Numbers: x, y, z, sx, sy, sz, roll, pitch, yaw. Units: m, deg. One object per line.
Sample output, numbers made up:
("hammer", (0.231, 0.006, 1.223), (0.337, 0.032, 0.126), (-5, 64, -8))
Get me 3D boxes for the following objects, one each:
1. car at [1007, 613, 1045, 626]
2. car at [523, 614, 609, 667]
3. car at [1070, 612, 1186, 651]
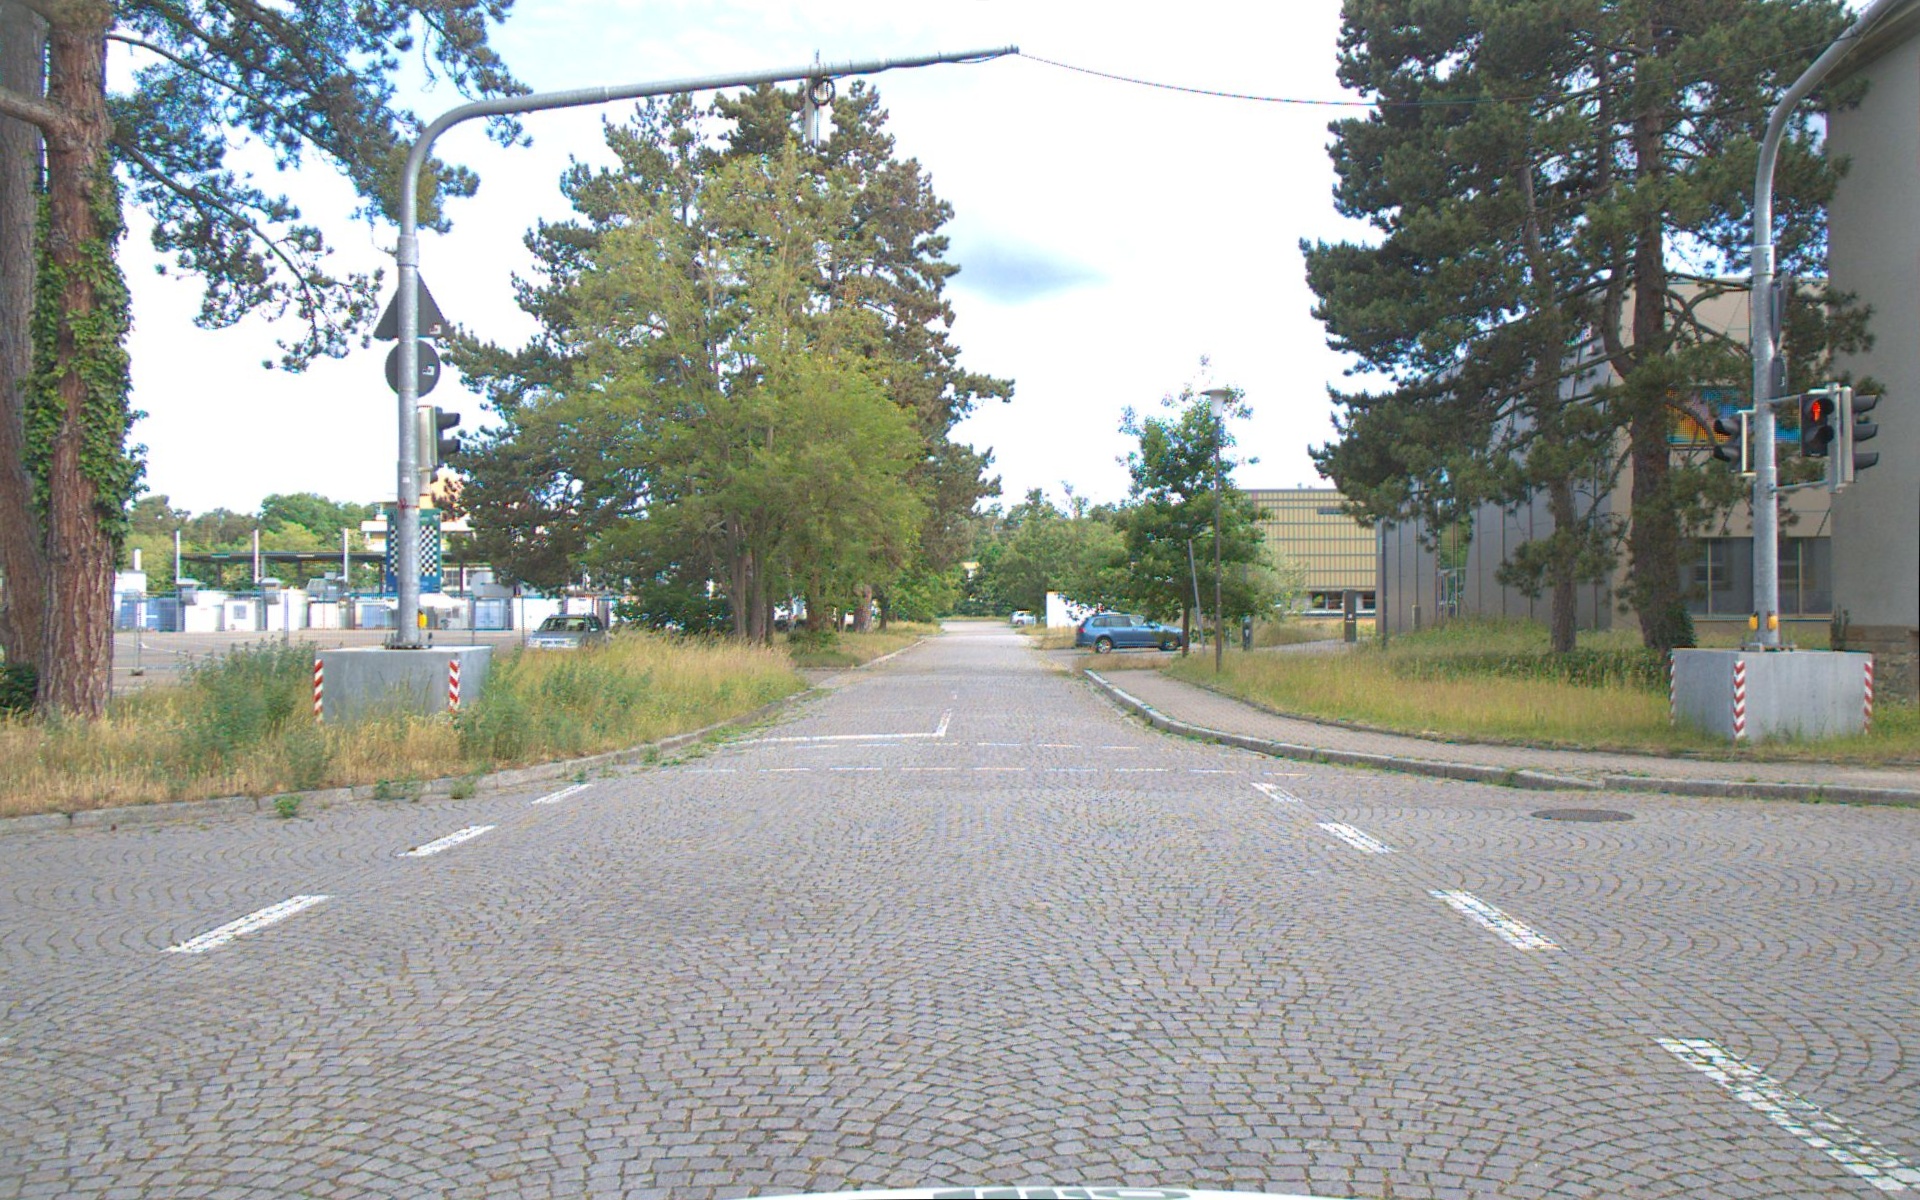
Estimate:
("car", (7.226, 2.109, 181.487), (3.909, 1.422, 1.998), (0, 0, -5))
("car", (-11.785, 1.187, 49.701), (1.580, 1.513, 4.000), (0, 0, 1))
("car", (6.509, 1.207, 64.407), (4.256, 1.447, 1.999), (0, 0, -1))
